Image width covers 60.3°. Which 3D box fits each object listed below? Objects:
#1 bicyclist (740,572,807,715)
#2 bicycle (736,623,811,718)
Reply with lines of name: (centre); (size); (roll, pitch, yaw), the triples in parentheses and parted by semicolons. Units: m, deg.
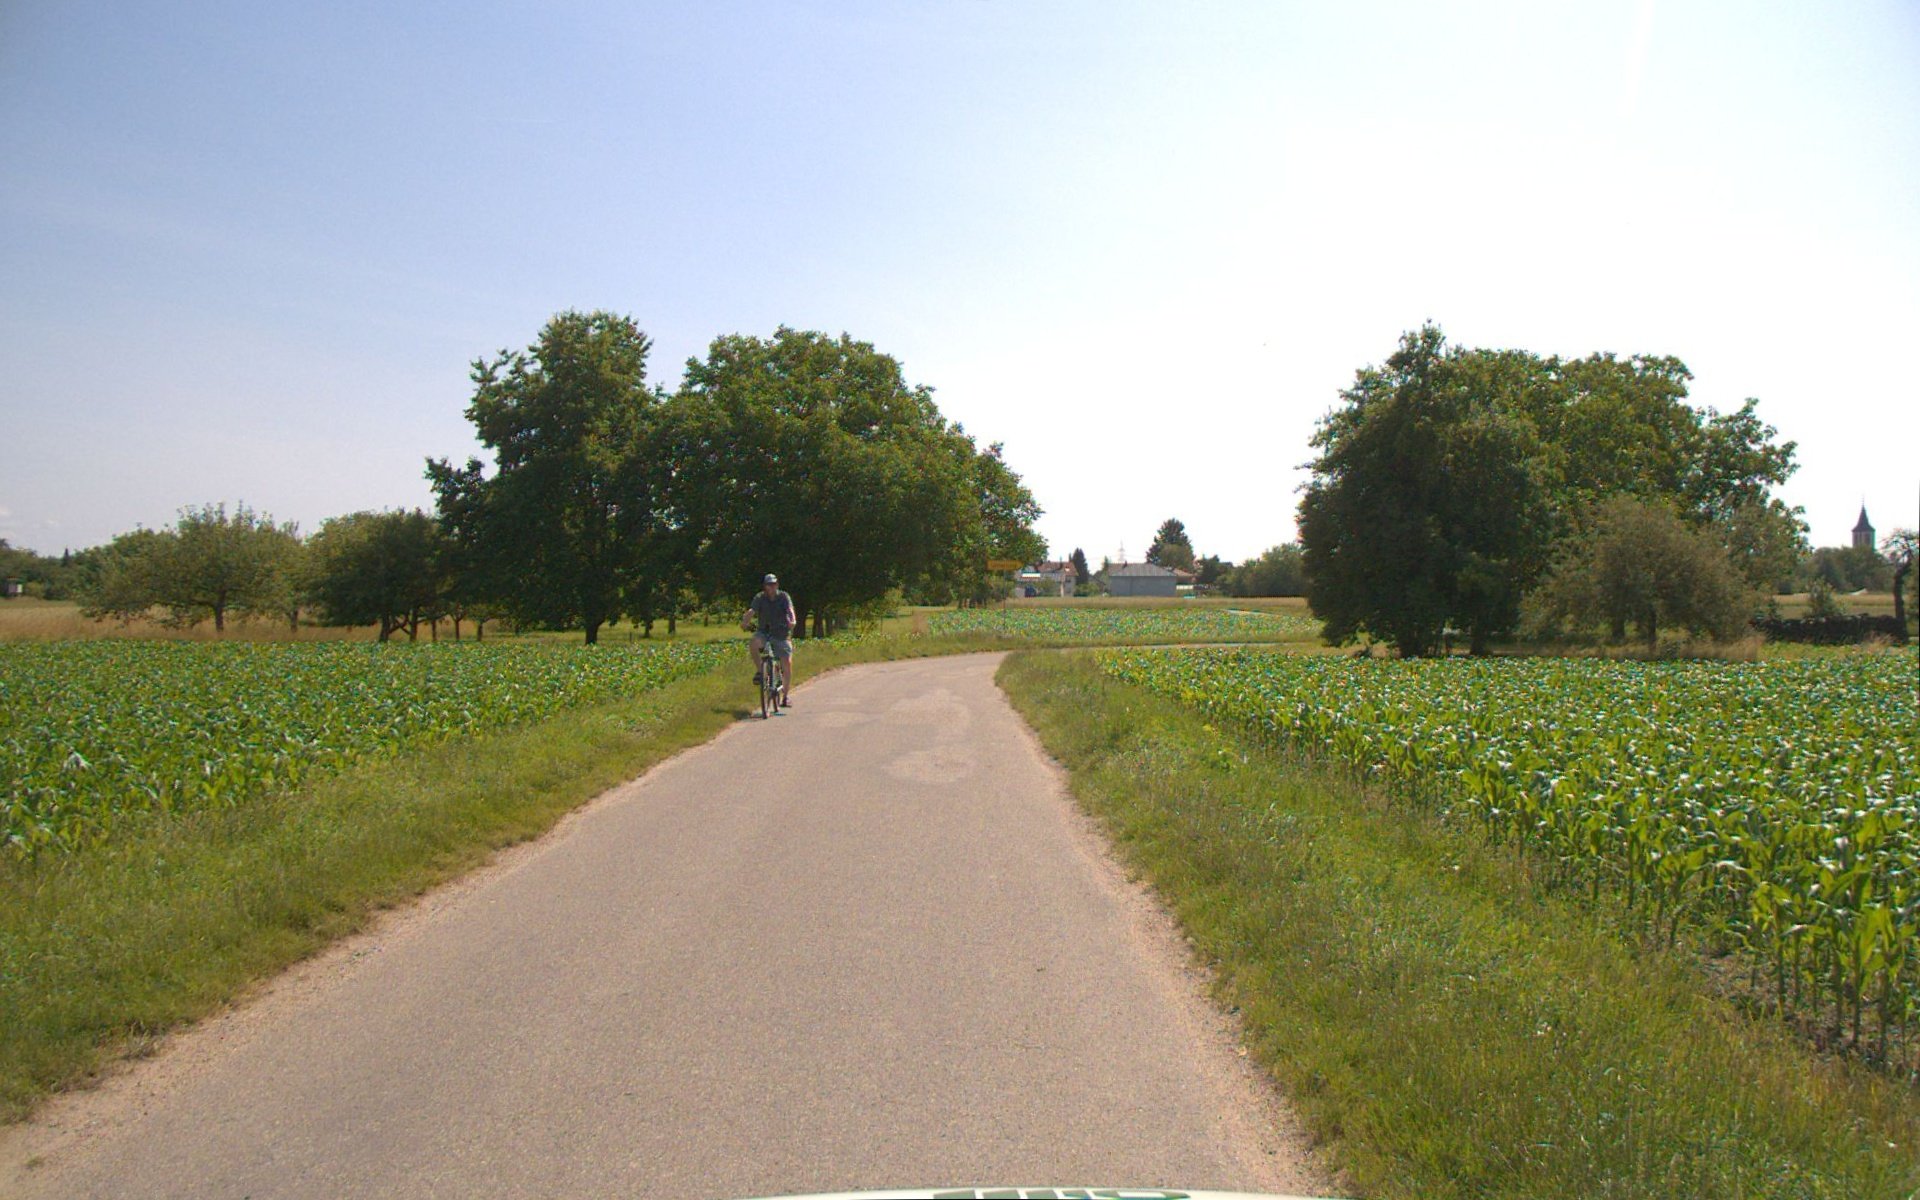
bicyclist: (-2.433, 0.563, 21.682); (0.735, 1.822, 0.717); (-2, 0, 0)
bicycle: (-2.427, 0.895, 21.724); (0.735, 1.147, 1.908); (-2, 0, 0)
